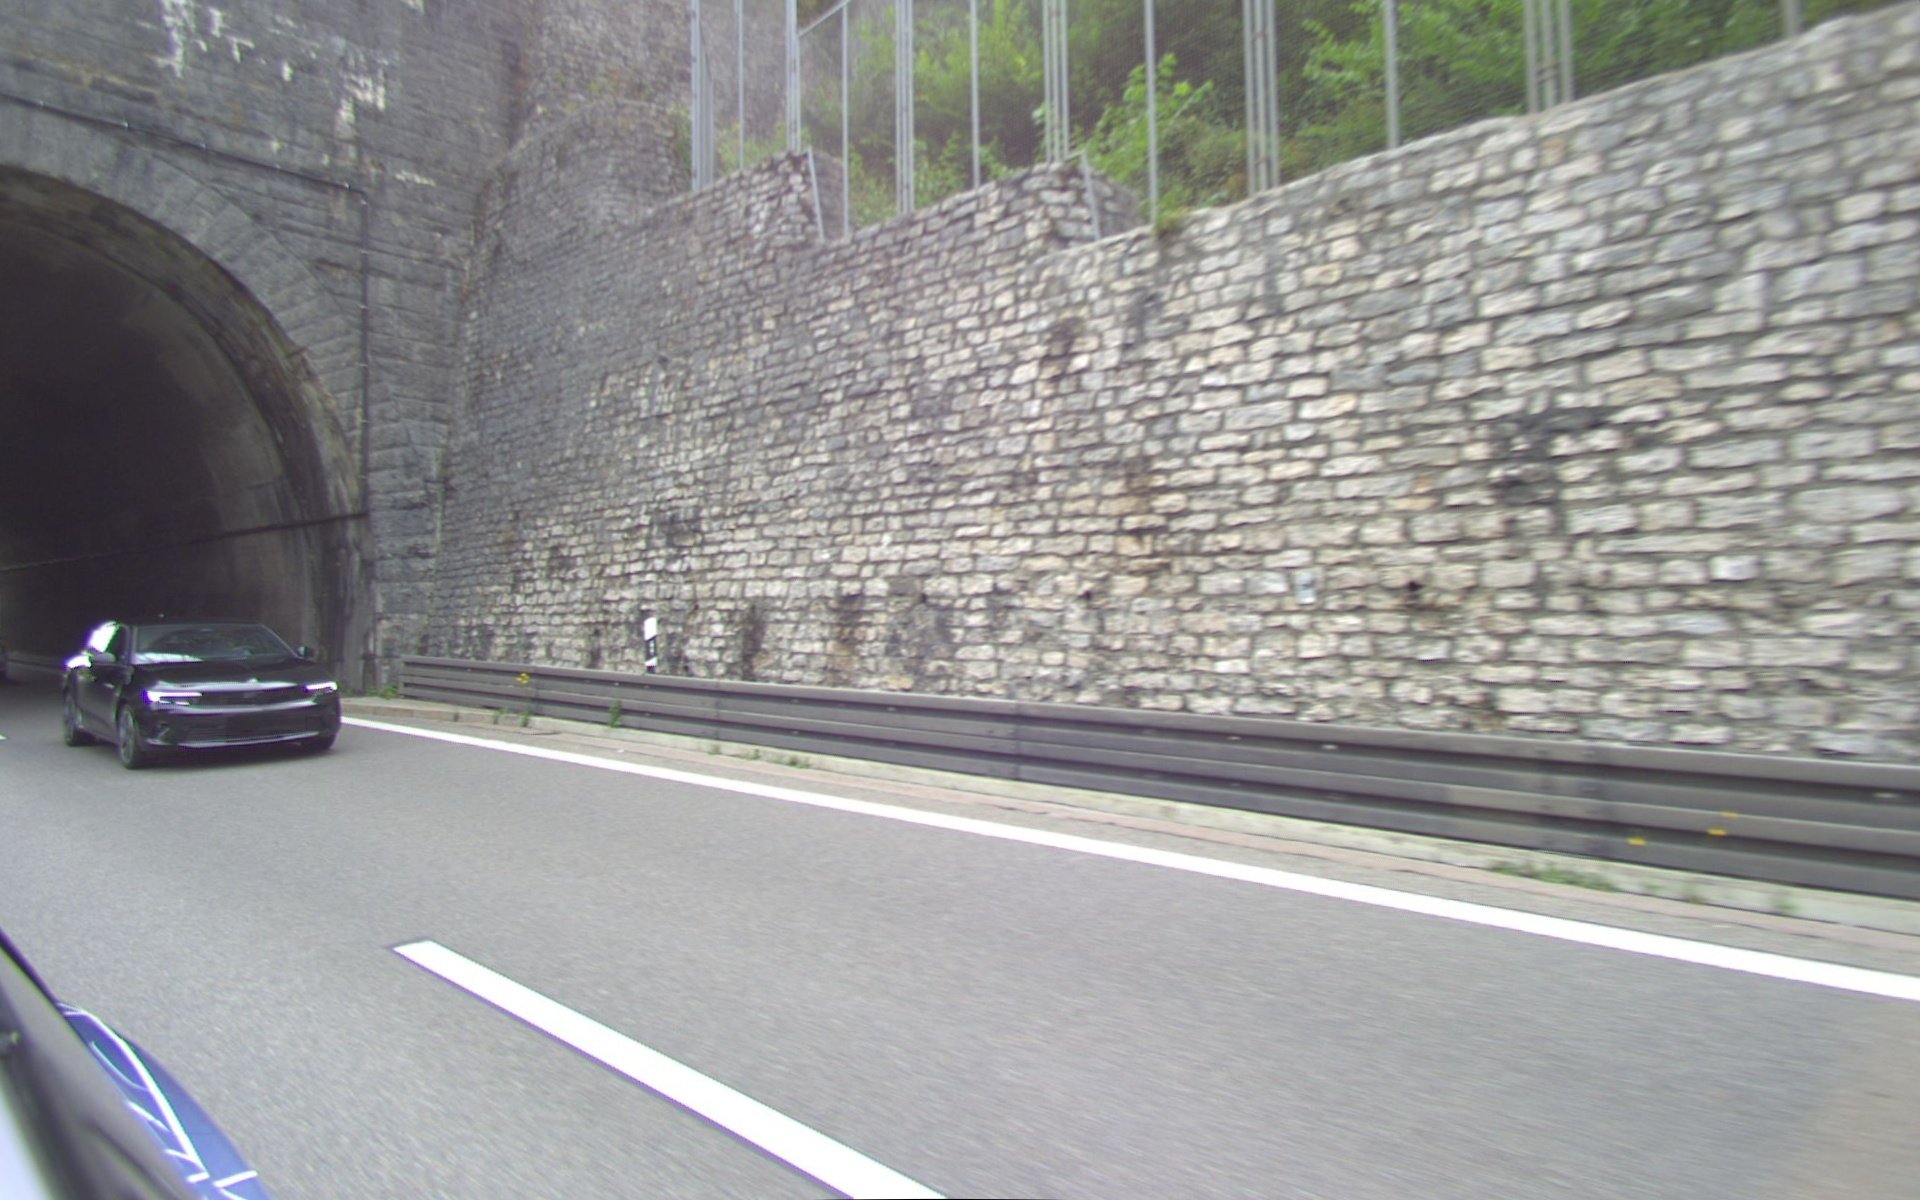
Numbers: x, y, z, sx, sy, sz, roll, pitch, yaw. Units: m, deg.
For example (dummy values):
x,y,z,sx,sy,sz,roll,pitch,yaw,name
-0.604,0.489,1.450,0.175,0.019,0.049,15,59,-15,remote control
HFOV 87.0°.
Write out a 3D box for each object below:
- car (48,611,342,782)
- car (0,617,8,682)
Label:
x,y,z,sx,sy,sz,roll,pitch,yaw,name
-8.540,0.912,11.129,4.580,1.472,1.754,-2,-1,42,car
-24.278,1.165,24.052,4.623,1.493,1.827,-1,-1,39,car
